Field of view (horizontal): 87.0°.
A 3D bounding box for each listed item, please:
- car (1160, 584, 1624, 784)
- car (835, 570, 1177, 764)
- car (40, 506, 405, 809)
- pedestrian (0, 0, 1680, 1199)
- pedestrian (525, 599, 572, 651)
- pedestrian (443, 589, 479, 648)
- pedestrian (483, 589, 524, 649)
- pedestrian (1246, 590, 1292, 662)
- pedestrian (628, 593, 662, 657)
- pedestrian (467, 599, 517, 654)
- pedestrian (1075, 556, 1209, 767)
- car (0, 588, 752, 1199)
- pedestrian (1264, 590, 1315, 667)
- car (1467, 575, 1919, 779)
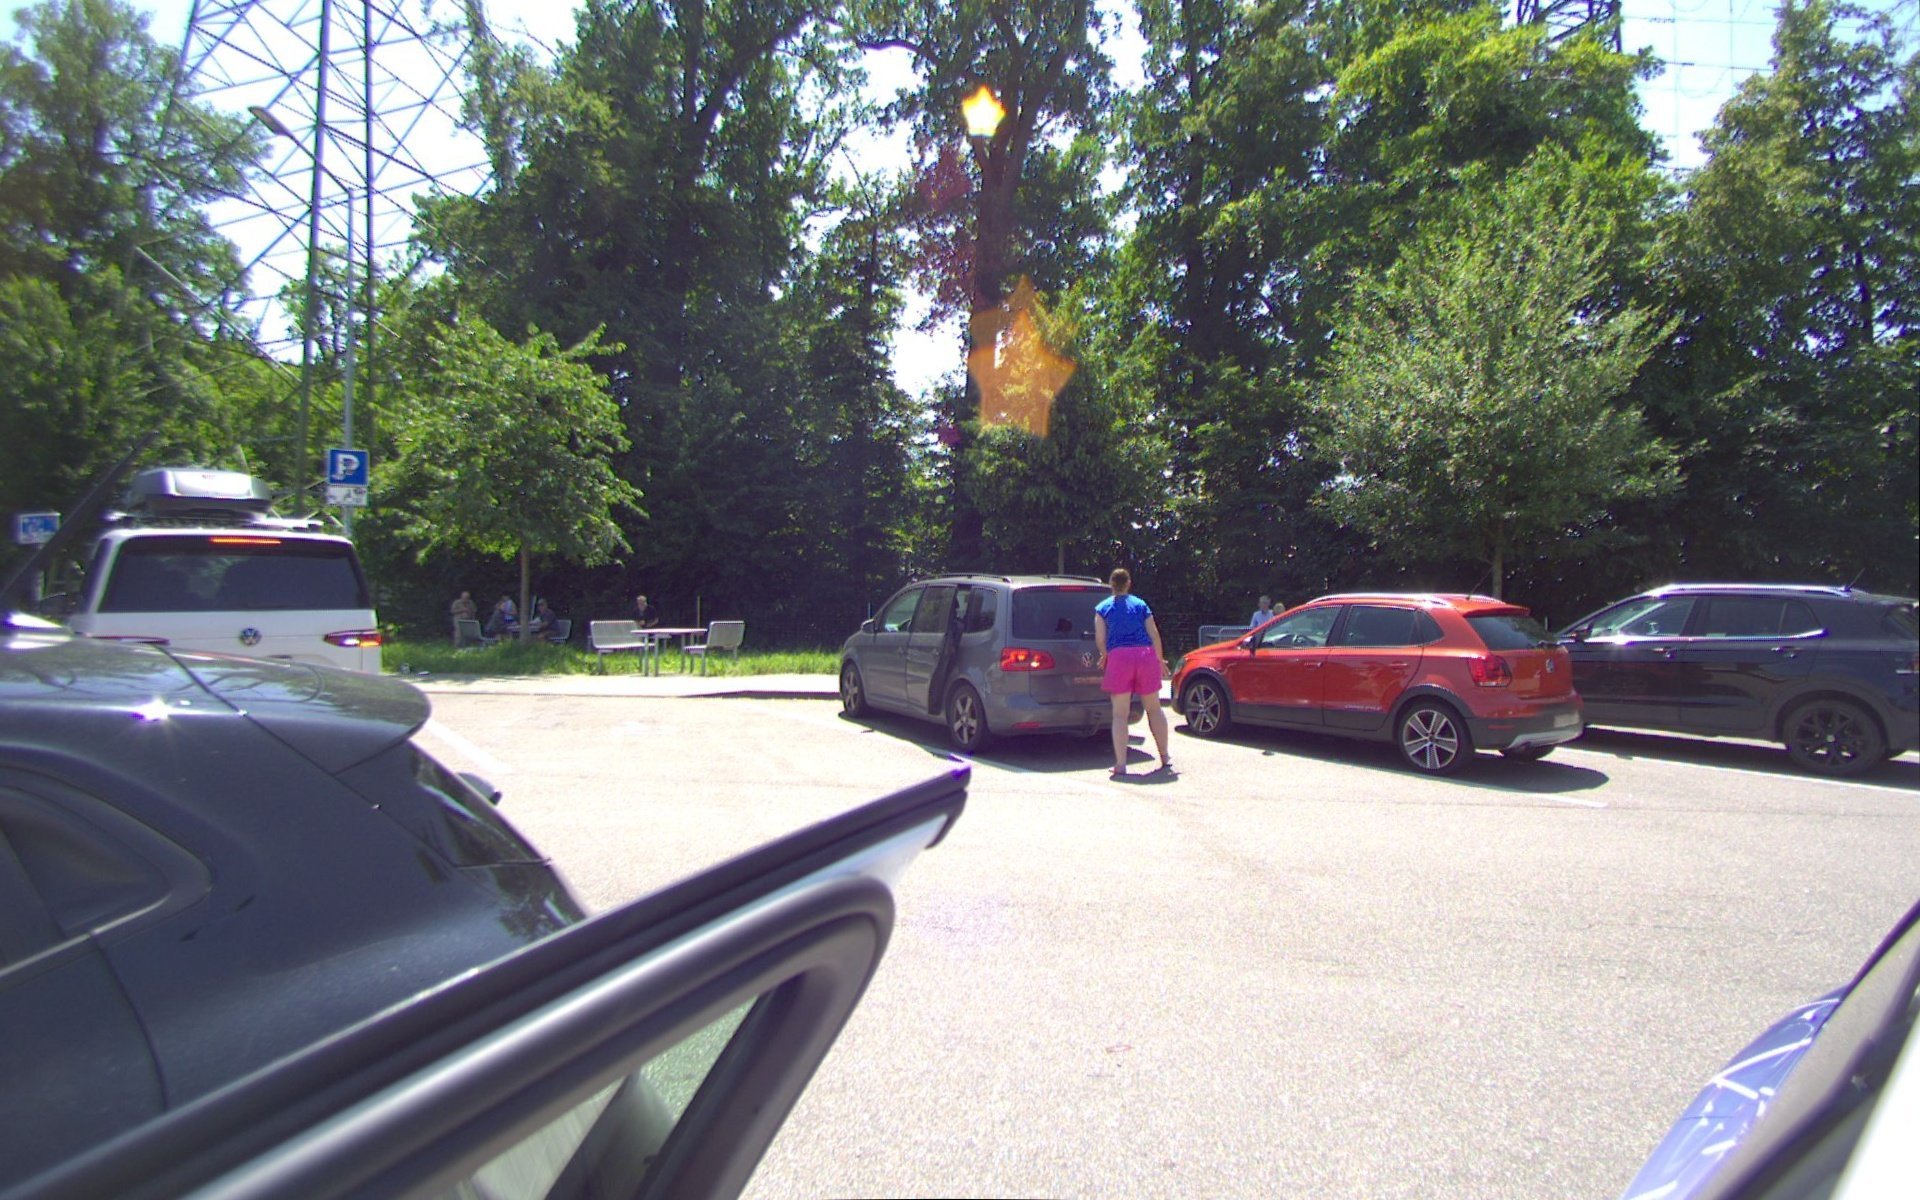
[{"bbox_3d":[3.852,0.606,9.650,1.687,1.484,3.793,0,1,-32],"label":"car"},{"bbox_3d":[0.251,0.513,10.519,1.713,1.601,3.996,0,1,-29],"label":"car"},{"bbox_3d":[-6.544,0.324,8.743,1.881,1.936,4.551,0,1,-45],"label":"car"},{"bbox_3d":[-0.118,0.538,0.554,0.874,1.865,0.621,0,0,-38],"label":"pedestrian"},{"bbox_3d":[-9.605,0.567,23.625,0.873,1.192,0.668,0,0,-41],"label":"pedestrian"},{"bbox_3d":[-12.304,0.454,24.938,0.657,1.422,0.649,0,0,-39],"label":"pedestrian"},{"bbox_3d":[-11.044,0.455,24.502,0.664,1.422,0.643,0,0,32],"label":"pedestrian"},{"bbox_3d":[5.783,0.470,18.976,0.657,1.311,0.783,0,0,3],"label":"pedestrian"},{"bbox_3d":[-6.615,0.514,21.264,0.655,1.311,0.786,0,0,-16],"label":"pedestrian"},{"bbox_3d":[-10.521,0.580,22.771,0.873,1.192,0.668,0,0,-41],"label":"pedestrian"},{"bbox_3d":[1.529,0.491,8.600,0.901,1.703,0.735,0,0,-11],"label":"pedestrian"},{"bbox_3d":[-2.203,0.718,0.600,1.737,1.501,3.757,0,0,44],"label":"car"},{"bbox_3d":[5.777,0.482,17.759,0.657,1.311,0.783,0,0,3],"label":"pedestrian"},{"bbox_3d":[7.178,0.572,9.710,1.690,1.593,3.787,0,1,-39],"label":"car"}]
